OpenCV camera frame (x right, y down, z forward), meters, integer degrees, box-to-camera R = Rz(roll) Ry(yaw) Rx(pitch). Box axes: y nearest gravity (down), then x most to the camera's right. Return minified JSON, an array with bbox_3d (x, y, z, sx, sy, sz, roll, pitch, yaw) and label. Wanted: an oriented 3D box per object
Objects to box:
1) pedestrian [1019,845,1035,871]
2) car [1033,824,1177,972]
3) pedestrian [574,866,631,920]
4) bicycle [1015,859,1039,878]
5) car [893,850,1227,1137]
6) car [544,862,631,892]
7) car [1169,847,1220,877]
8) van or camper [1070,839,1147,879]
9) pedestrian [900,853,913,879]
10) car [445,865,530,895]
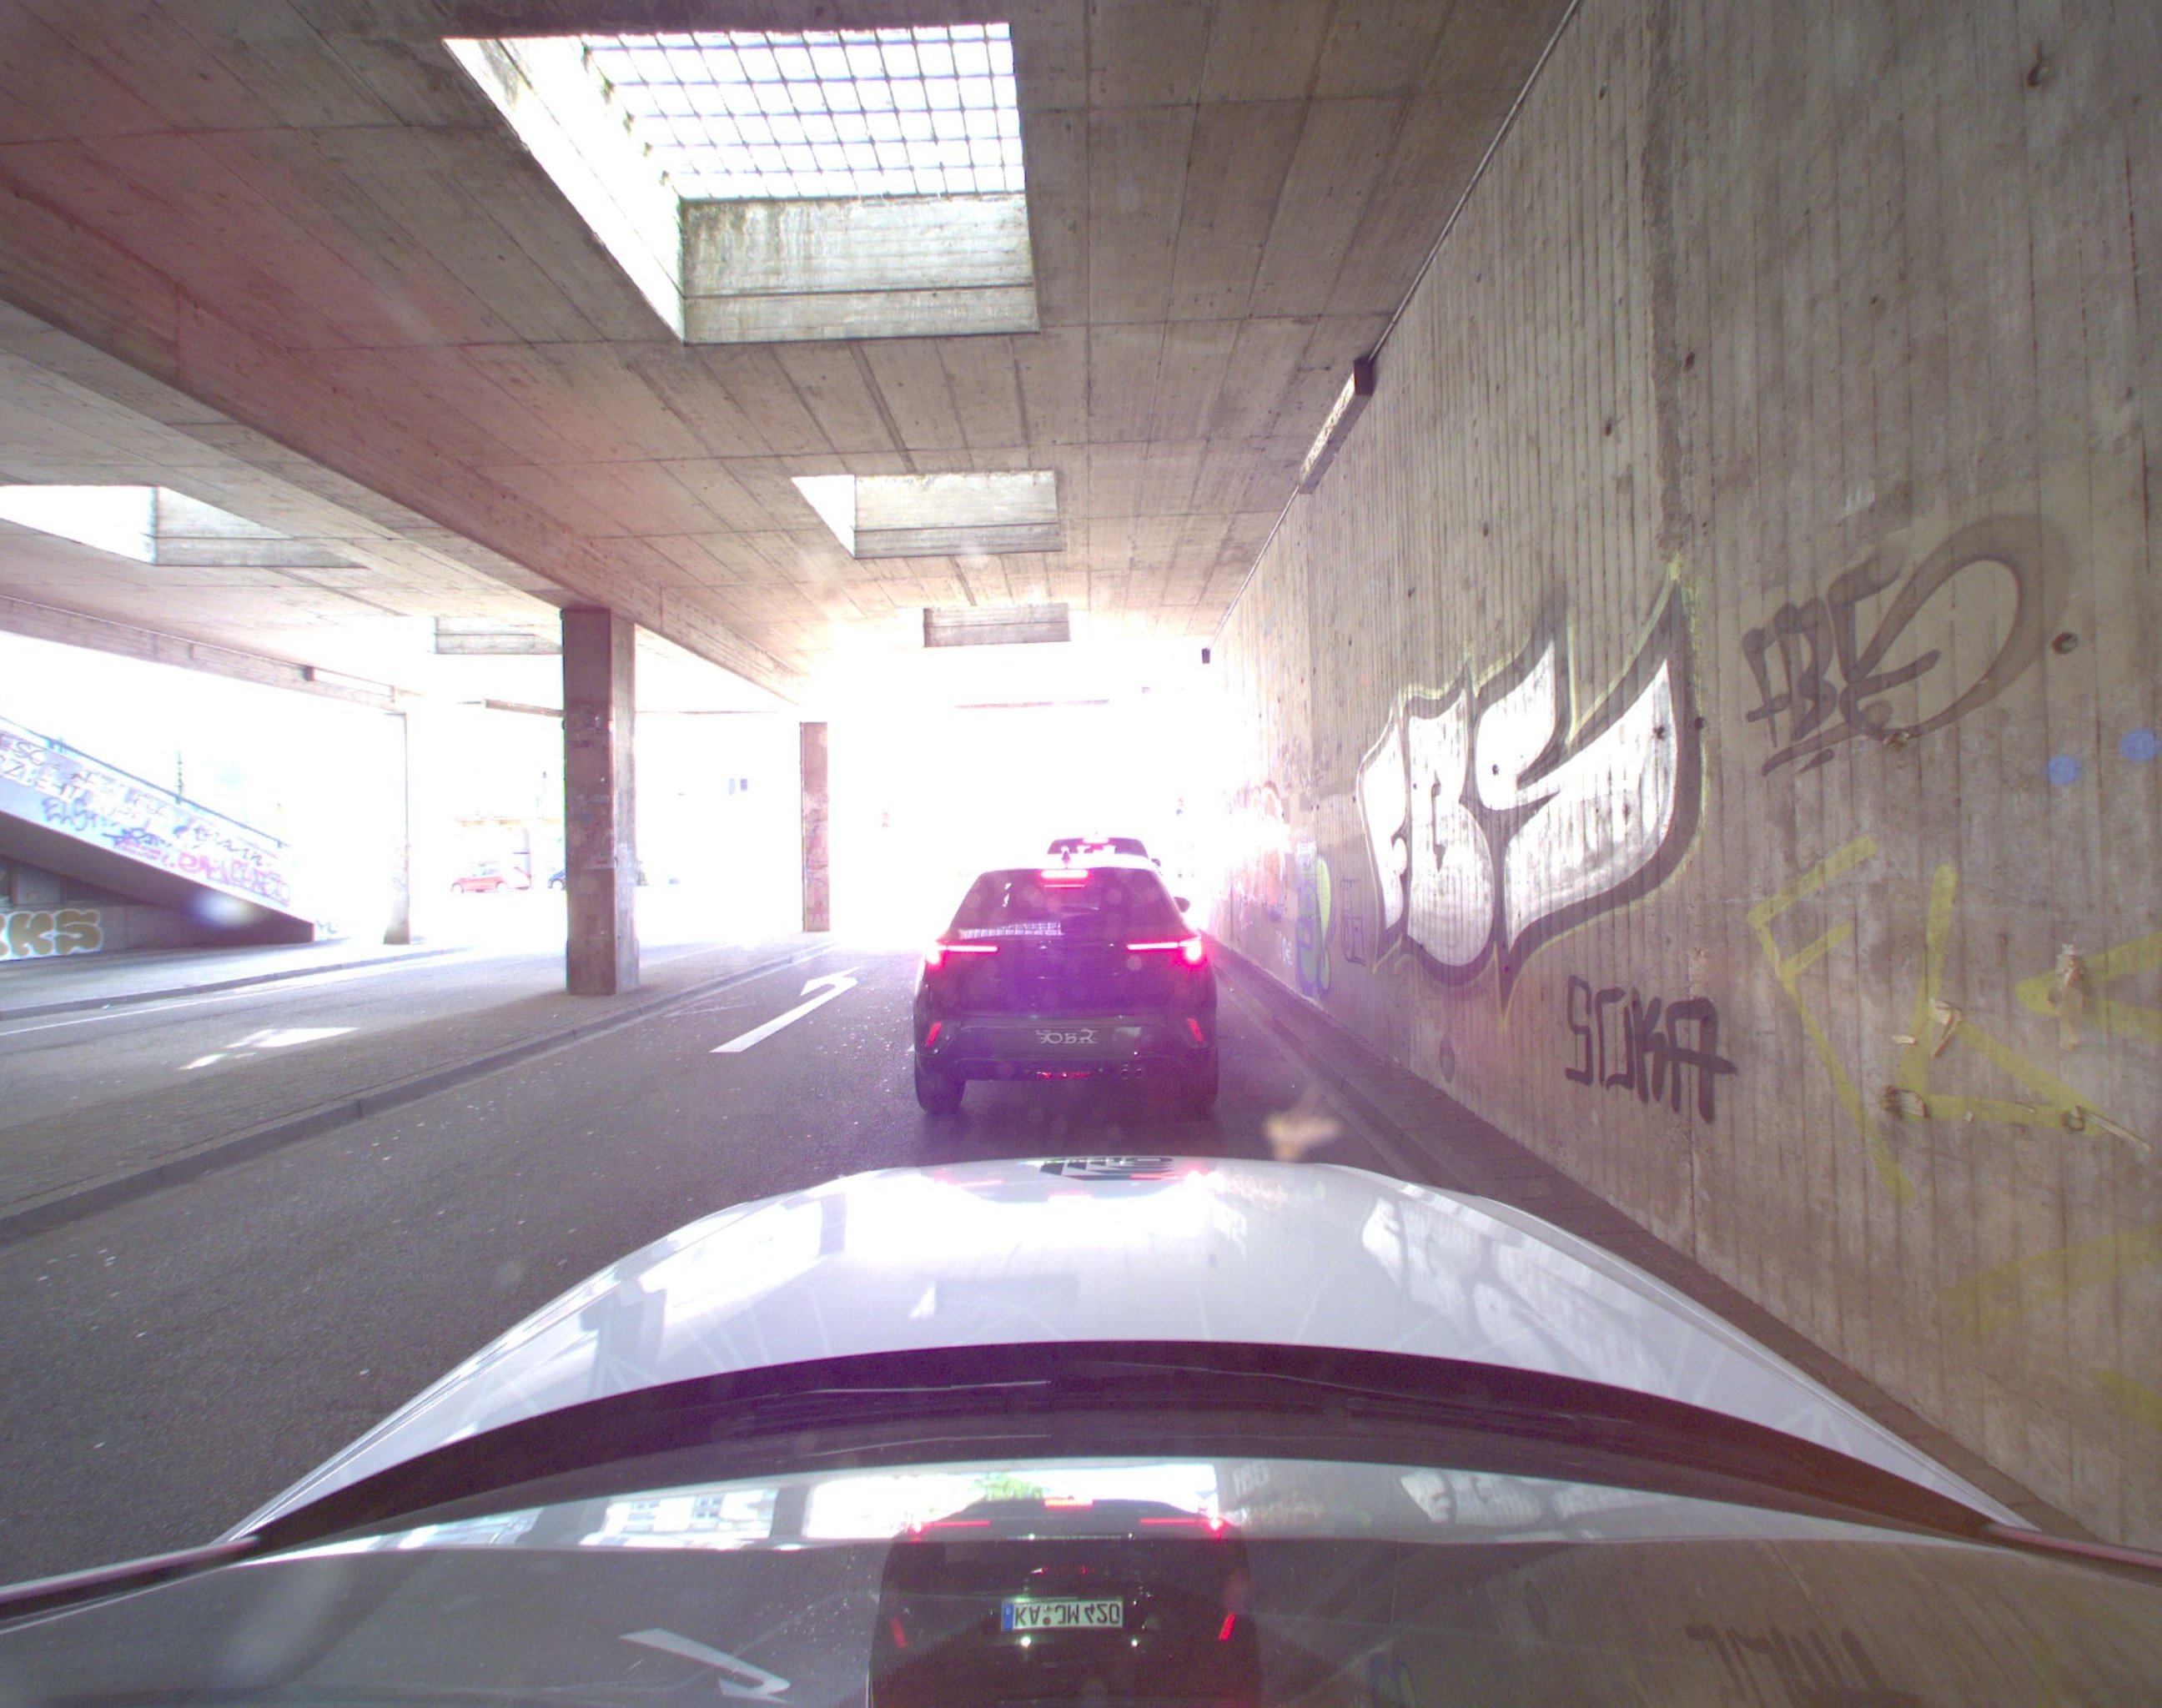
[{"bbox_3d":[-3.397,0.258,51.650,0.729,1.585,0.894,0,-1,18],"label":"pedestrian"},{"bbox_3d":[0.371,0.545,12.162,1.779,1.833,3.962,-1,0,2],"label":"car"},{"bbox_3d":[-15.823,1.275,26.976,1.103,1.737,1.146,-1,0,15],"label":"pedestrian"},{"bbox_3d":[-3.413,0.892,51.563,0.730,1.130,2.036,-2,0,19],"label":"bicycle"},{"bbox_3d":[-0.039,0.731,6.273,1.746,1.498,4.002,0,0,2],"label":"car"},{"bbox_3d":[-27.392,1.271,45.275,3.742,1.508,1.752,-2,0,0],"label":"car"},{"bbox_3d":[6.372,0.414,45.322,1.977,1.534,4.756,-1,0,18],"label":"car"},{"bbox_3d":[1.513,0.279,43.580,3.854,2.013,2.005,-1,0,9],"label":"van or camper"},{"bbox_3d":[-11.772,0.816,54.890,0.618,1.705,0.726,0,-1,15],"label":"pedestrian"},{"bbox_3d":[-32.846,1.418,45.099,3.519,1.506,1.563,-1,0,2],"label":"car"}]
